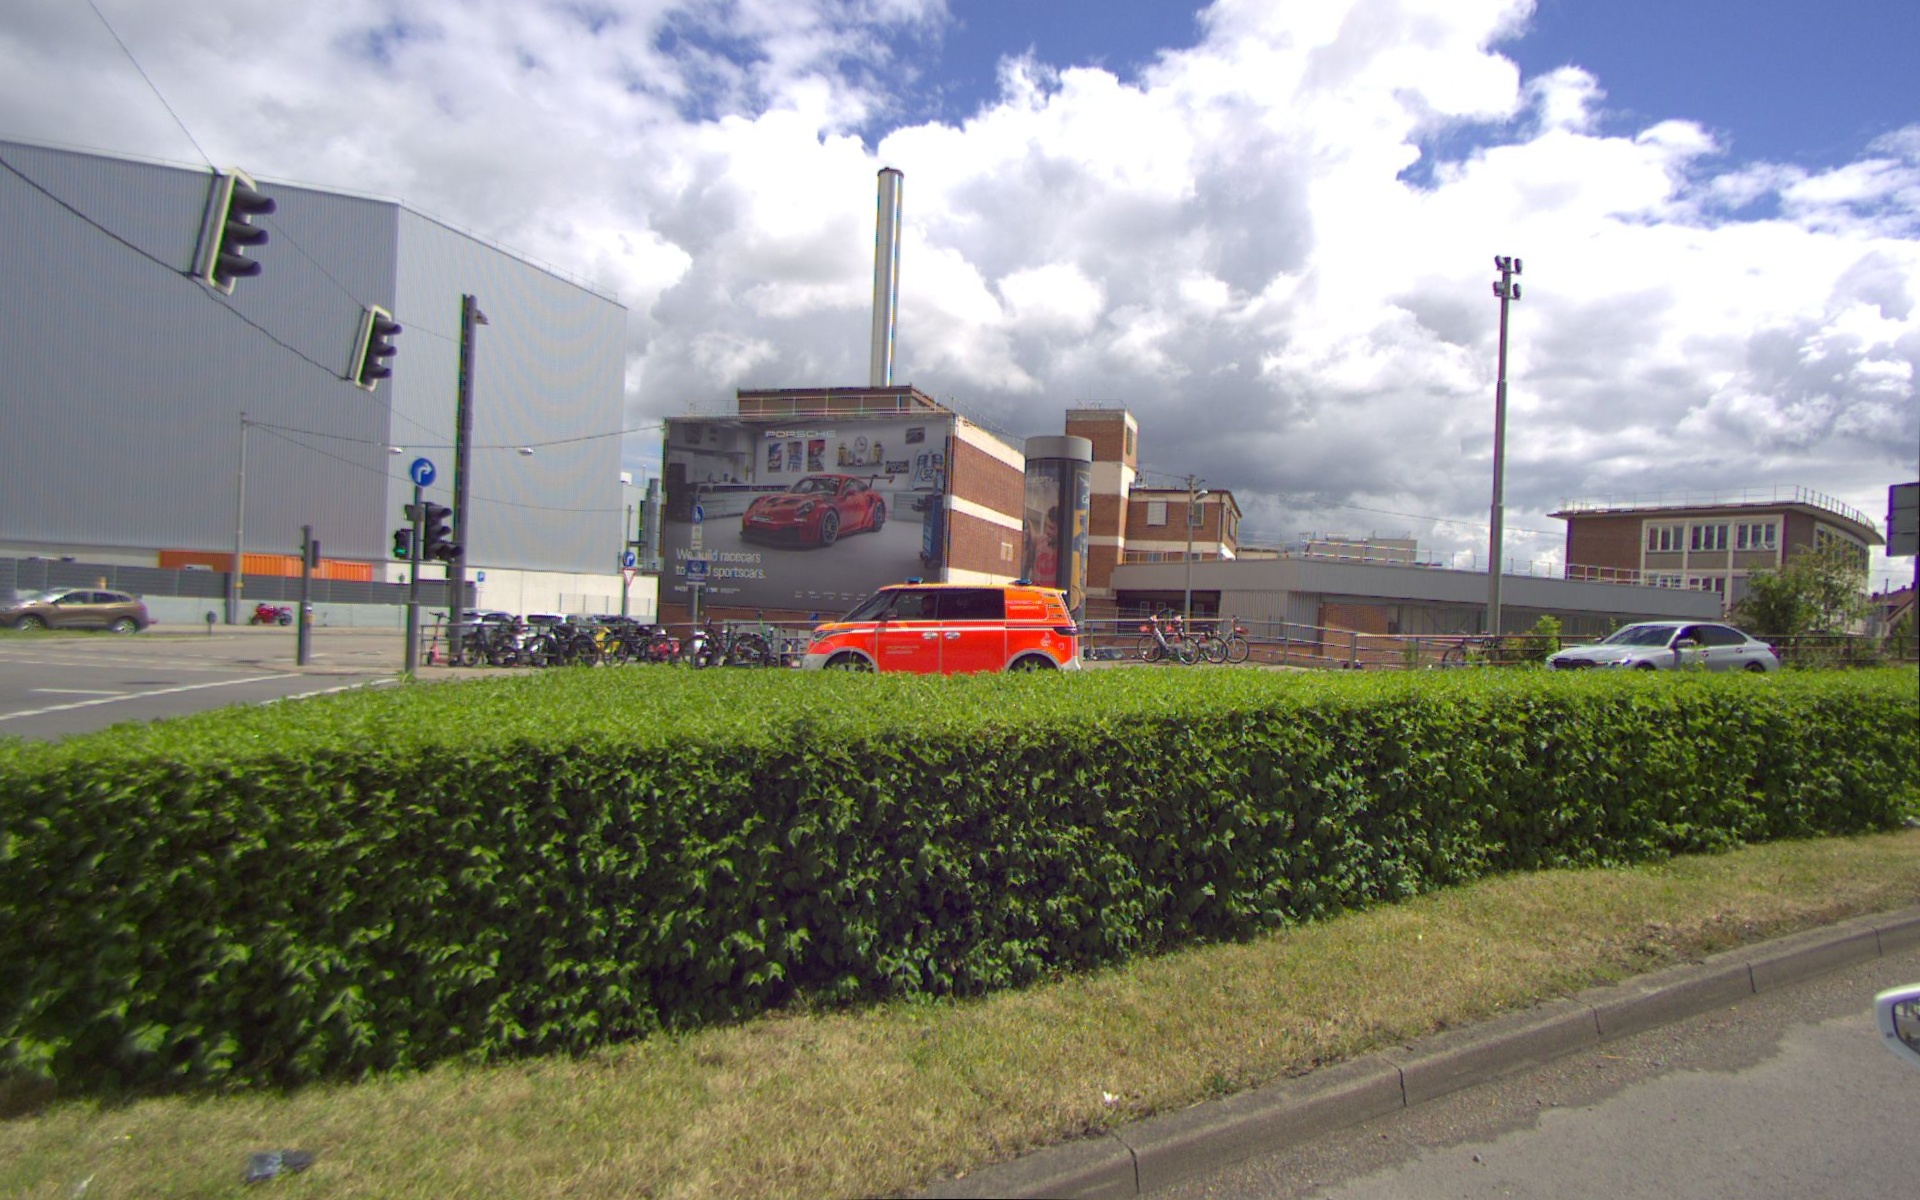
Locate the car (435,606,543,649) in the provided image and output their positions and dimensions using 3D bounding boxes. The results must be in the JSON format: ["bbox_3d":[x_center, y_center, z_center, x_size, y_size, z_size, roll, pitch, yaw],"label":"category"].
[{"bbox_3d":[-20.032,1.129,42.942,1.960,1.598,4.002,4,1,16],"label":"car"}]

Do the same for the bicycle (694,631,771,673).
[{"bbox_3d":[-4.905,1.116,21.732,1.581,0.878,0.492,0,0,-9],"label":"bicycle"}]

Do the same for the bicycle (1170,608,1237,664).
[{"bbox_3d":[5.805,0.843,24.081,0.660,1.198,1.733,-1,2,-22],"label":"bicycle"}]

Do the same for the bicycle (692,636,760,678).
[{"bbox_3d":[-5.849,1.414,25.126,1.579,0.878,0.493,4,1,16],"label":"bicycle"}]

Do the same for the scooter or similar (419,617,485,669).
[{"bbox_3d":[-11.864,1.003,23.460,1.602,1.197,0.502,-1,-1,26],"label":"scooter or similar"}]

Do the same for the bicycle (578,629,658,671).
[{"bbox_3d":[-7.365,1.081,21.640,1.578,0.878,0.493,0,0,8],"label":"bicycle"}]

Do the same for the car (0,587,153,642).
[{"bbox_3d":[-29.453,0.467,32.979,1.778,1.565,4.236,4,1,22],"label":"car"}]

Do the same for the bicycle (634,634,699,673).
[{"bbox_3d":[-7.284,1.325,24.929,1.580,0.878,0.492,1,0,23],"label":"bicycle"}]

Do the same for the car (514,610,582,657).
[{"bbox_3d":[-14.620,1.160,35.787,1.756,1.368,3.344,4,1,-15],"label":"car"}]

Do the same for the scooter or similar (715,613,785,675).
[{"bbox_3d":[-4.380,0.902,20.934,1.369,1.248,0.492,0,2,-21],"label":"scooter or similar"}]

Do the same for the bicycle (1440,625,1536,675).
[{"bbox_3d":[12.199,1.149,23.195,2.258,1.086,0.452,1,2,-17],"label":"bicycle"}]

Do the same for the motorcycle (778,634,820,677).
[{"bbox_3d":[-5.360,1.822,33.535,0.902,1.211,2.912,4,1,-1],"label":"motorcycle"}]

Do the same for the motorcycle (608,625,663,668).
[{"bbox_3d":[-11.019,1.553,34.255,0.902,1.211,2.912,4,1,-1],"label":"motorcycle"}]

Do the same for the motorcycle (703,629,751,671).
[{"bbox_3d":[-7.866,1.668,34.074,0.902,1.211,2.912,4,1,-1],"label":"motorcycle"}]

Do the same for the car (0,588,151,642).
[{"bbox_3d":[-29.478,0.476,32.923,1.790,1.577,4.223,4,1,23],"label":"car"}]

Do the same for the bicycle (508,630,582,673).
[{"bbox_3d":[-9.128,1.114,22.069,1.579,0.878,0.492,1,0,21],"label":"bicycle"}]

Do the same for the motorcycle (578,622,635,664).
[{"bbox_3d":[-12.011,1.431,34.236,0.902,1.211,2.912,4,1,-1],"label":"motorcycle"}]

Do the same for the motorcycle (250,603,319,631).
[{"bbox_3d":[-33.539,0.865,49.955,0.935,1.245,2.752,4,0,21],"label":"motorcycle"}]

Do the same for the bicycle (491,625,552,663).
[{"bbox_3d":[-11.263,1.110,25.848,0.483,0.878,1.612,4,1,14],"label":"bicycle"}]

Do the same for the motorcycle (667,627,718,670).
[{"bbox_3d":[-9.030,1.621,34.040,0.902,1.211,2.912,4,1,-1],"label":"motorcycle"}]

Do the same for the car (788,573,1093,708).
[{"bbox_3d":[-0.332,0.689,16.759,4.743,2.009,2.000,1,-3,-3],"label":"car"}]

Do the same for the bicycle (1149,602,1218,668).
[{"bbox_3d":[5.196,0.794,23.415,0.660,1.399,1.735,4,1,-20],"label":"bicycle"}]

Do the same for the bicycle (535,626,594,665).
[{"bbox_3d":[-10.027,1.143,25.507,0.483,0.878,1.612,4,1,14],"label":"bicycle"}]

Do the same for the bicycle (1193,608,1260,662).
[{"bbox_3d":[6.490,0.837,24.571,0.660,1.198,1.734,2,1,-20],"label":"bicycle"}]

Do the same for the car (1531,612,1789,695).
[{"bbox_3d":[13.706,0.988,19.695,4.600,1.416,1.753,0,2,-19],"label":"car"}]
